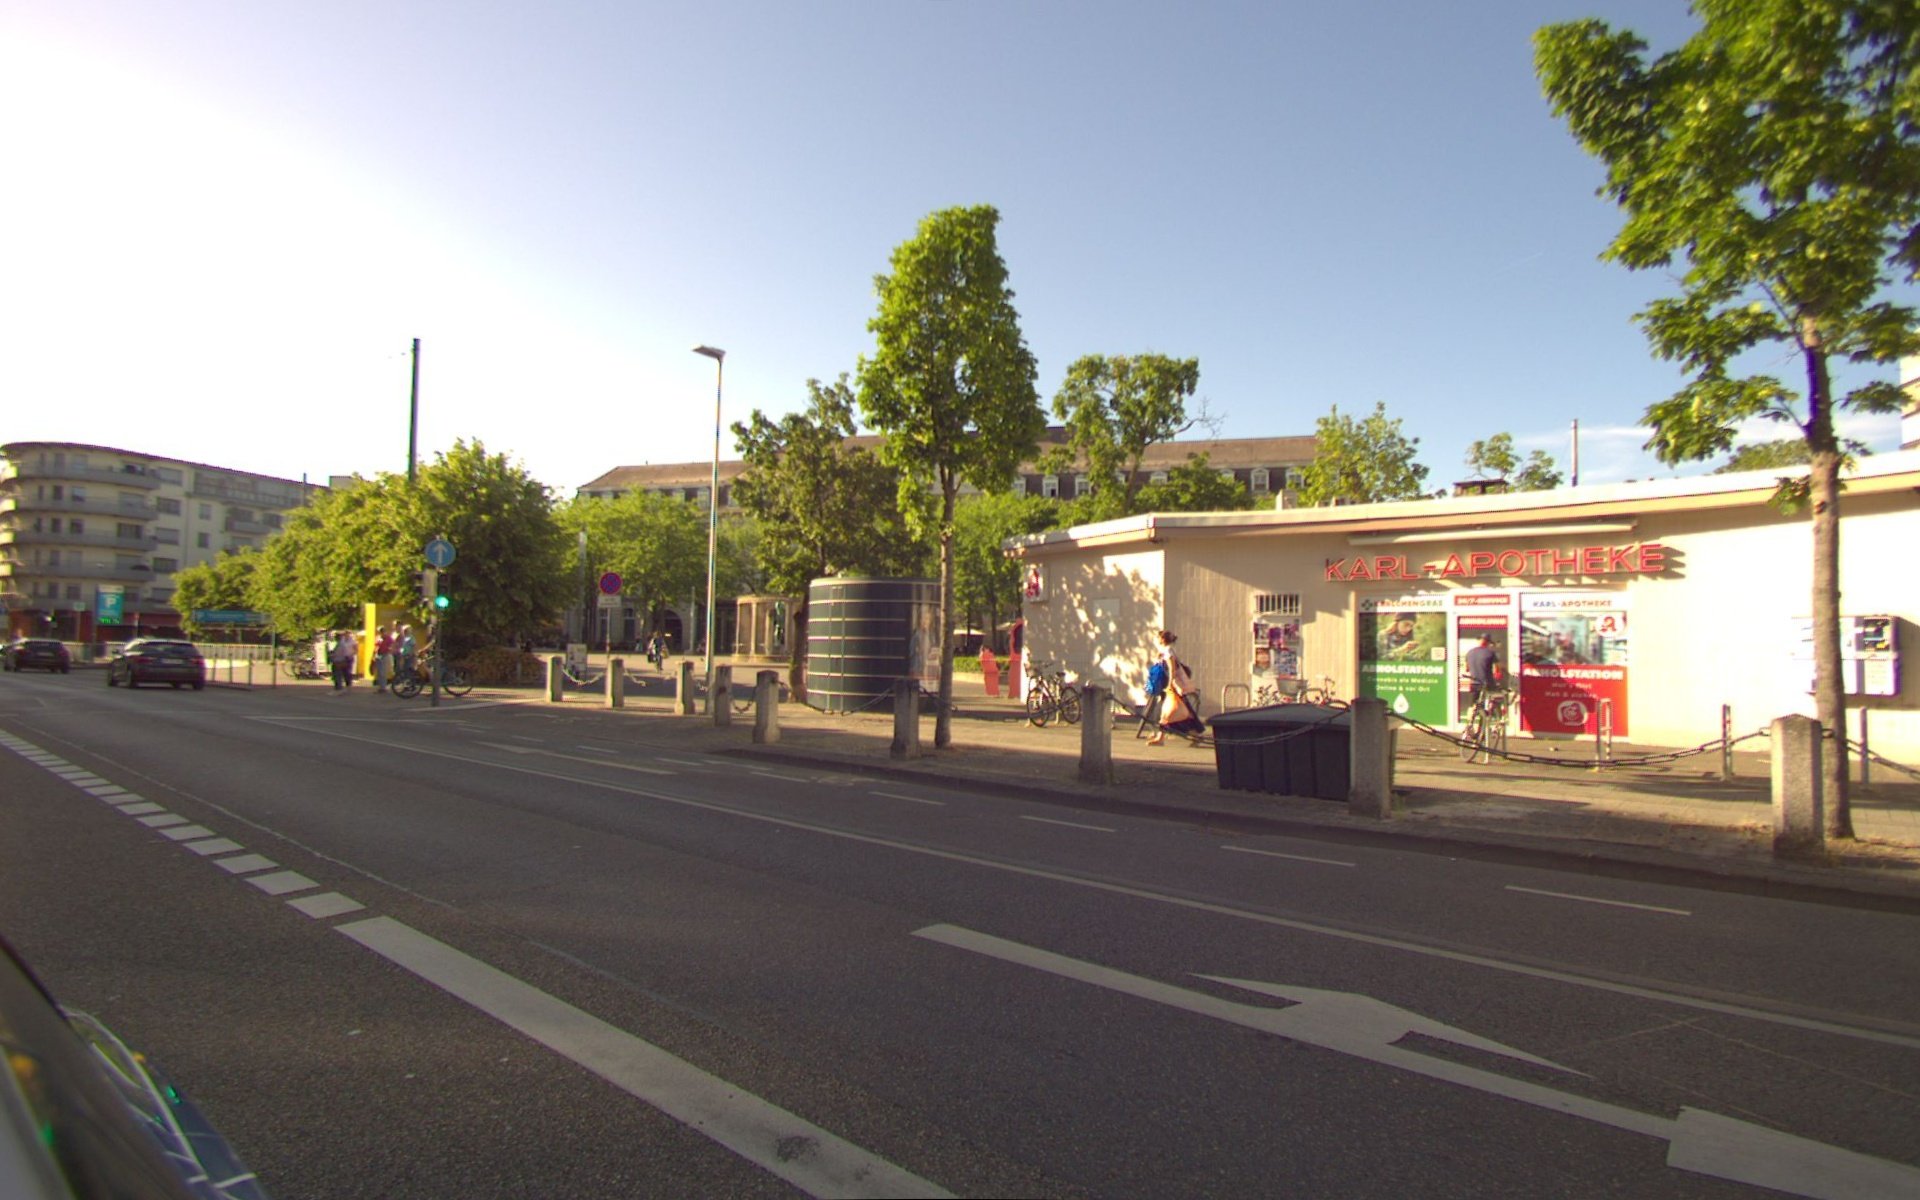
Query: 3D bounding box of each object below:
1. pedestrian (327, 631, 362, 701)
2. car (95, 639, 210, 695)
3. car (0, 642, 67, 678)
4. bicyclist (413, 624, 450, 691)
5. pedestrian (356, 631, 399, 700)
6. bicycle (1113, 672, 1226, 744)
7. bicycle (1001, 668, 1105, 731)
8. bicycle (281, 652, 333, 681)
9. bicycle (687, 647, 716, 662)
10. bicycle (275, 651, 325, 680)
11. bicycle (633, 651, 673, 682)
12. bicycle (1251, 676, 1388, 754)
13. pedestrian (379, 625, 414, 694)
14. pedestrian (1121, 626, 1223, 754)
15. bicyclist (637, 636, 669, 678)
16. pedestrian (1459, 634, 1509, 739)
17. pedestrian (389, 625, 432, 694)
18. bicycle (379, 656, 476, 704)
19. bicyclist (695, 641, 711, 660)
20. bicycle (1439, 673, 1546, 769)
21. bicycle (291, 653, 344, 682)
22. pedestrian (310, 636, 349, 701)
[{"bbox_3d":[-16.625,1.773,27.344,0.640,1.872,0.626,1,-3,-18],"label":"pedestrian"},{"bbox_3d":[-23.092,1.896,28.888,4.039,1.408,1.634,-2,-7,39],"label":"car"},{"bbox_3d":[-39.318,2.491,42.692,4.249,1.434,1.732,-2,-3,38],"label":"car"},{"bbox_3d":[-13.469,1.447,25.816,0.791,1.661,0.997,1,-3,-27],"label":"bicyclist"},{"bbox_3d":[-15.688,1.758,27.269,0.772,1.825,0.590,1,-3,-3],"label":"pedestrian"},{"bbox_3d":[3.281,1.644,15.754,1.861,1.010,0.766,2,-3,-41],"label":"bicycle"},{"bbox_3d":[1.653,1.722,17.804,1.861,1.010,0.766,2,-3,-41],"label":"bicycle"},{"bbox_3d":[-23.620,2.400,36.639,0.364,1.039,1.529,-2,-4,40],"label":"bicycle"},{"bbox_3d":[-19.663,4.138,77.089,0.697,1.112,2.094,-2,-4,42],"label":"bicycle"},{"bbox_3d":[-24.579,2.441,37.703,1.506,1.039,0.365,2,-4,-35],"label":"bicycle"},{"bbox_3d":[-12.172,2.619,40.071,0.927,1.141,2.486,2,-3,-31],"label":"bicycle"},{"bbox_3d":[5.222,1.633,14.660,1.985,1.010,0.890,2,-3,-35],"label":"bicycle"},{"bbox_3d":[-15.909,1.671,28.576,0.784,1.933,0.601,-2,-4,42],"label":"pedestrian"},{"bbox_3d":[2.950,1.230,14.173,1.067,1.711,0.905,1,-3,-18],"label":"pedestrian"},{"bbox_3d":[-12.178,2.246,40.089,0.927,1.621,1.173,2,-4,-31],"label":"bicyclist"},{"bbox_3d":[8.763,1.433,16.925,0.611,1.722,0.514,-2,-5,40],"label":"pedestrian"},{"bbox_3d":[-14.772,1.596,27.216,0.776,1.825,0.586,0,-3,15],"label":"pedestrian"},{"bbox_3d":[-13.526,2.007,25.753,2.138,1.080,0.766,-1,-2,-28],"label":"bicycle"},{"bbox_3d":[-19.608,3.851,77.146,0.647,1.483,0.938,-2,-3,43],"label":"bicyclist"},{"bbox_3d":[6.927,1.523,13.128,0.753,1.096,1.967,-2,-3,42],"label":"bicycle"},{"bbox_3d":[-23.129,2.411,36.470,0.364,1.010,1.539,-2,-4,40],"label":"bicycle"},{"bbox_3d":[-16.583,1.789,26.641,0.676,1.686,0.699,1,-3,-18],"label":"pedestrian"}]
